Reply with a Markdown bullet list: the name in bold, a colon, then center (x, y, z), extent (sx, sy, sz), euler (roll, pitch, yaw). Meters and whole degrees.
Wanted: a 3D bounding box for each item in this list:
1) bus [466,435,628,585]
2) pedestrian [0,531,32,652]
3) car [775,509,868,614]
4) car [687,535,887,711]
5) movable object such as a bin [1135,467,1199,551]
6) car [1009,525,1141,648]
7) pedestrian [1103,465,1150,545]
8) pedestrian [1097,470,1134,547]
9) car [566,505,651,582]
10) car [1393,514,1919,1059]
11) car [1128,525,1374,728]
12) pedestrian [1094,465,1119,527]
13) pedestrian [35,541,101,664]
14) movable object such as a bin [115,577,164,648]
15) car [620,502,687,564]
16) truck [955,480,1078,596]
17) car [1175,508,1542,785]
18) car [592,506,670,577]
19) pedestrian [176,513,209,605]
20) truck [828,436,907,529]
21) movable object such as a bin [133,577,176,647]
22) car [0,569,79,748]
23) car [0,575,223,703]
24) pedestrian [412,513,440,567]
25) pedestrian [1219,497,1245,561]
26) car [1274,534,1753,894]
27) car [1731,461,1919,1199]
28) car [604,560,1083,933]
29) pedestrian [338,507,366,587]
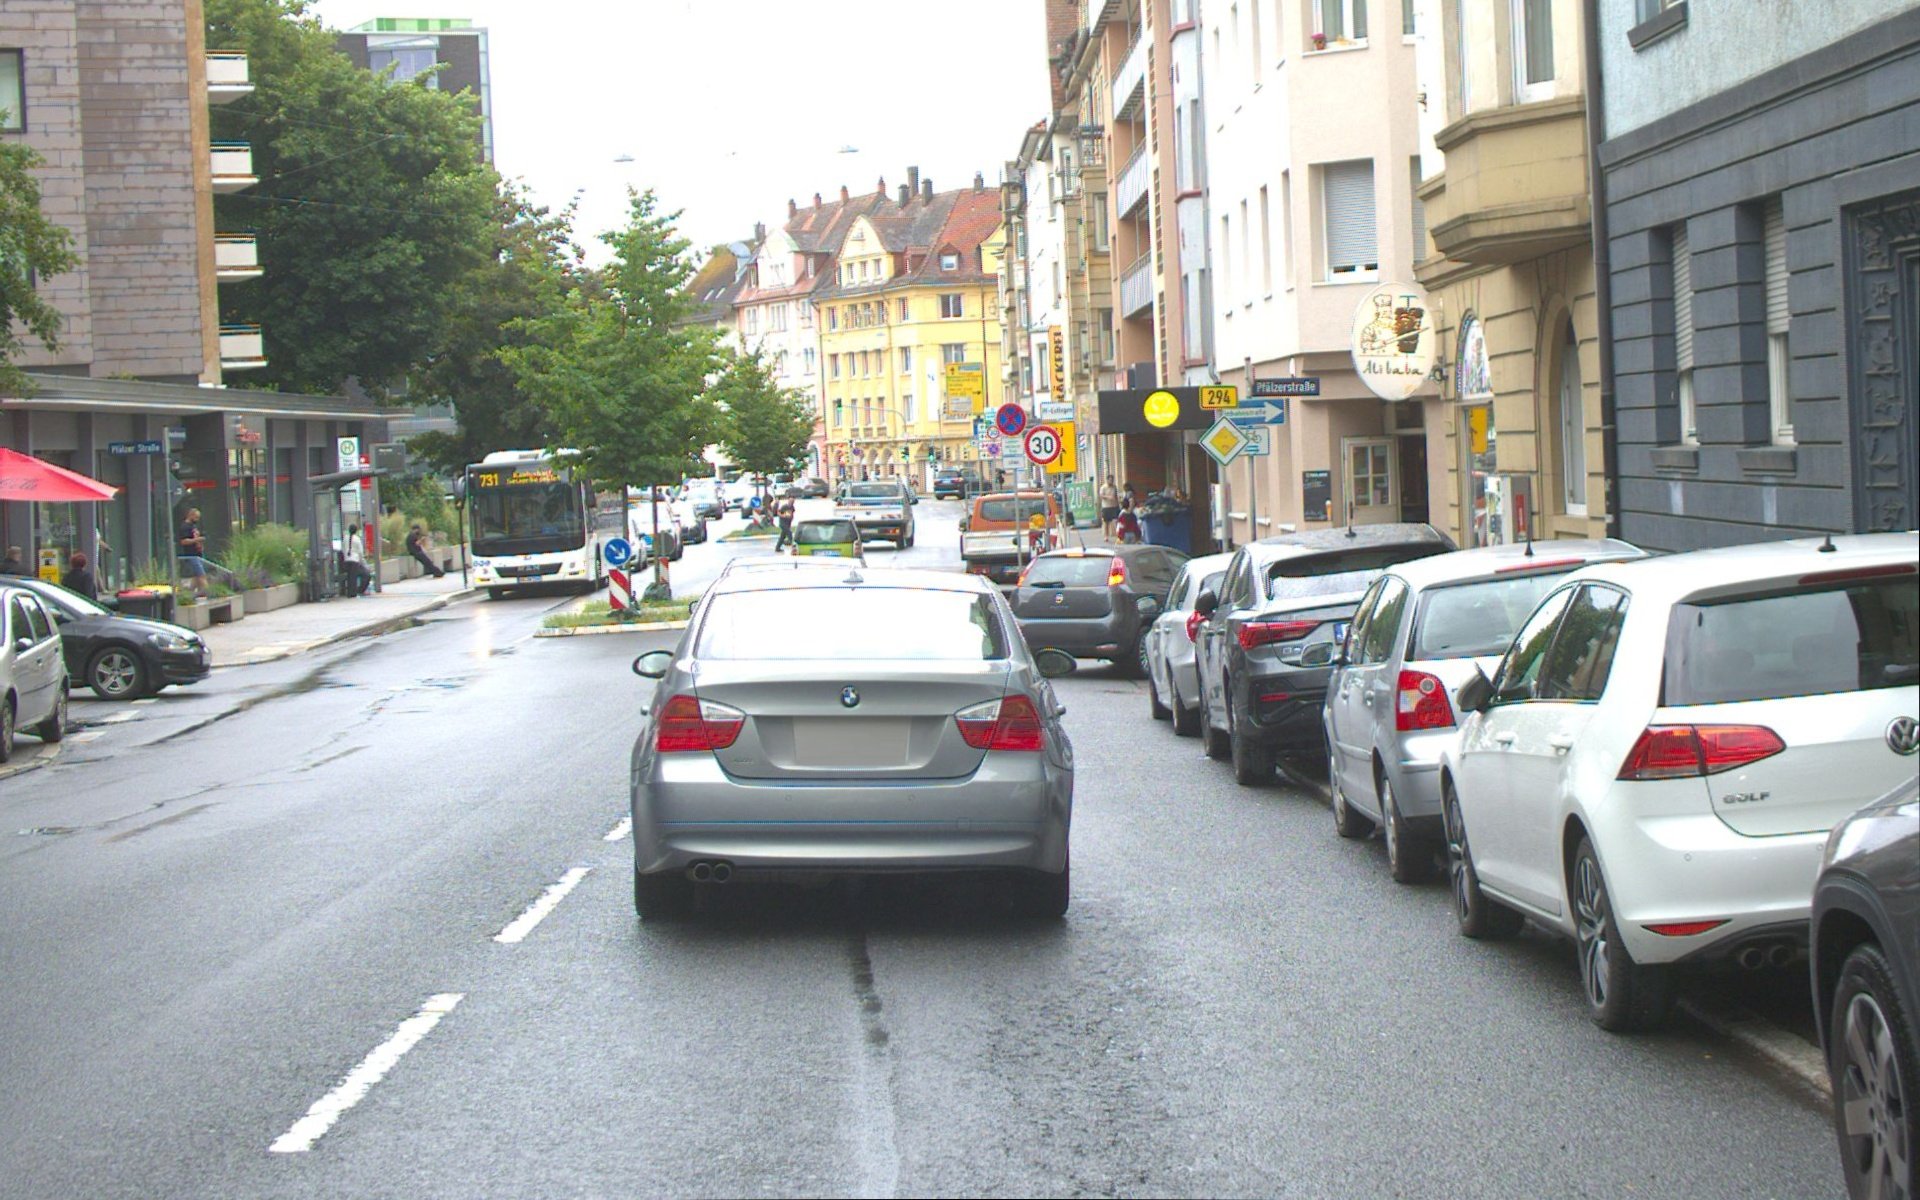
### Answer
- **bus**: center (-9.403, -1.956, 79.493), extent (2.681, 3.189, 11.957), euler (0, 0, -2)
- **pedestrian**: center (-13.988, -0.118, 49.556), extent (1.062, 1.725, 0.714), euler (-2, 2, -10)
- **car**: center (-2.755, -0.747, 67.947), extent (1.705, 2.007, 4.001), euler (0, 0, -4)
- **car**: center (-1.492, 0.179, 29.495), extent (1.601, 1.415, 3.288), euler (0, 0, -3)
- **movable object such as a bin**: center (4.413, -1.935, 73.361), extent (1.122, 1.697, 1.434), euler (-3, 0, -3)
- **car**: center (1.300, -0.158, 39.957), extent (1.435, 1.352, 3.762), euler (0, 0, 1)
- **pedestrian**: center (3.475, -1.983, 71.871), extent (0.750, 1.655, 0.755), euler (0, 0, -16)
- **pedestrian**: center (3.412, -2.004, 75.418), extent (0.749, 1.655, 0.836), euler (1, 0, 5)
- **car**: center (-9.387, -1.482, 92.016), extent (1.993, 2.007, 4.000), euler (0, 0, -2)
- **car**: center (2.705, 0.487, 11.867), extent (1.729, 1.424, 3.974), euler (-5, 1, -1)
- **car**: center (2.345, 0.165, 28.533), extent (1.569, 1.459, 4.089), euler (-4, 1, 0)
- **pedestrian**: center (3.986, -2.822, 93.409), extent (0.615, 1.655, 0.754), euler (1, 0, 5)
- **pedestrian**: center (-12.731, 0.030, 49.072), extent (0.739, 1.703, 0.680), euler (-5, 2, -19)
- **movable object such as a bin**: center (-12.876, 0.189, 53.951), extent (0.554, 1.077, 0.731), euler (-3, 0, 0)
- **car**: center (-10.290, -2.230, 115.721), extent (1.993, 2.007, 4.000), euler (0, 0, -2)
- **truck**: center (1.128, -1.187, 66.356), extent (2.215, 2.109, 4.652), euler (2, 1, 2)
- **car**: center (2.551, 0.238, 22.983), extent (1.818, 1.552, 4.293), euler (-4, 1, 0)
- **car**: center (-9.538, -1.686, 99.789), extent (1.993, 2.007, 4.000), euler (-1, 0, -2)
- **pedestrian**: center (-14.927, -0.798, 66.854), extent (0.465, 1.783, 0.544), euler (1, 0, 5)
- **truck**: center (-2.693, -3.353, 99.356), extent (2.216, 2.535, 4.780), euler (0, 0, -2)
- **movable object such as a bin**: center (-12.810, 0.187, 54.687), extent (0.490, 1.077, 0.606), euler (-3, 0, 0)
- **car**: center (-9.000, 0.501, 30.464), extent (1.631, 1.449, 3.840), euler (-2, 1, -5)
- **car**: center (-10.498, 0.448, 39.223), extent (3.815, 1.385, 1.743), euler (-1, 0, -1)
- **pedestrian**: center (-13.893, -1.560, 89.448), extent (0.619, 1.373, 0.544), euler (0, 0, 0)
- **pedestrian**: center (5.275, -1.372, 66.709), extent (0.412, 1.199, 0.357), euler (-4, 3, 2)
- **car**: center (2.582, 0.462, 16.793), extent (1.583, 1.424, 3.595), euler (-5, 1, -1)
- **car**: center (2.731, 0.506, 5.472), extent (1.840, 1.615, 4.208), euler (-4, 1, -2)
- **car**: center (-0.457, 0.533, 14.316), extent (1.756, 1.358, 3.165), euler (-1, 0, -1)
- **pedestrian**: center (-13.017, -1.138, 73.605), extent (0.542, 1.703, 0.466), euler (0, 0, -7)
